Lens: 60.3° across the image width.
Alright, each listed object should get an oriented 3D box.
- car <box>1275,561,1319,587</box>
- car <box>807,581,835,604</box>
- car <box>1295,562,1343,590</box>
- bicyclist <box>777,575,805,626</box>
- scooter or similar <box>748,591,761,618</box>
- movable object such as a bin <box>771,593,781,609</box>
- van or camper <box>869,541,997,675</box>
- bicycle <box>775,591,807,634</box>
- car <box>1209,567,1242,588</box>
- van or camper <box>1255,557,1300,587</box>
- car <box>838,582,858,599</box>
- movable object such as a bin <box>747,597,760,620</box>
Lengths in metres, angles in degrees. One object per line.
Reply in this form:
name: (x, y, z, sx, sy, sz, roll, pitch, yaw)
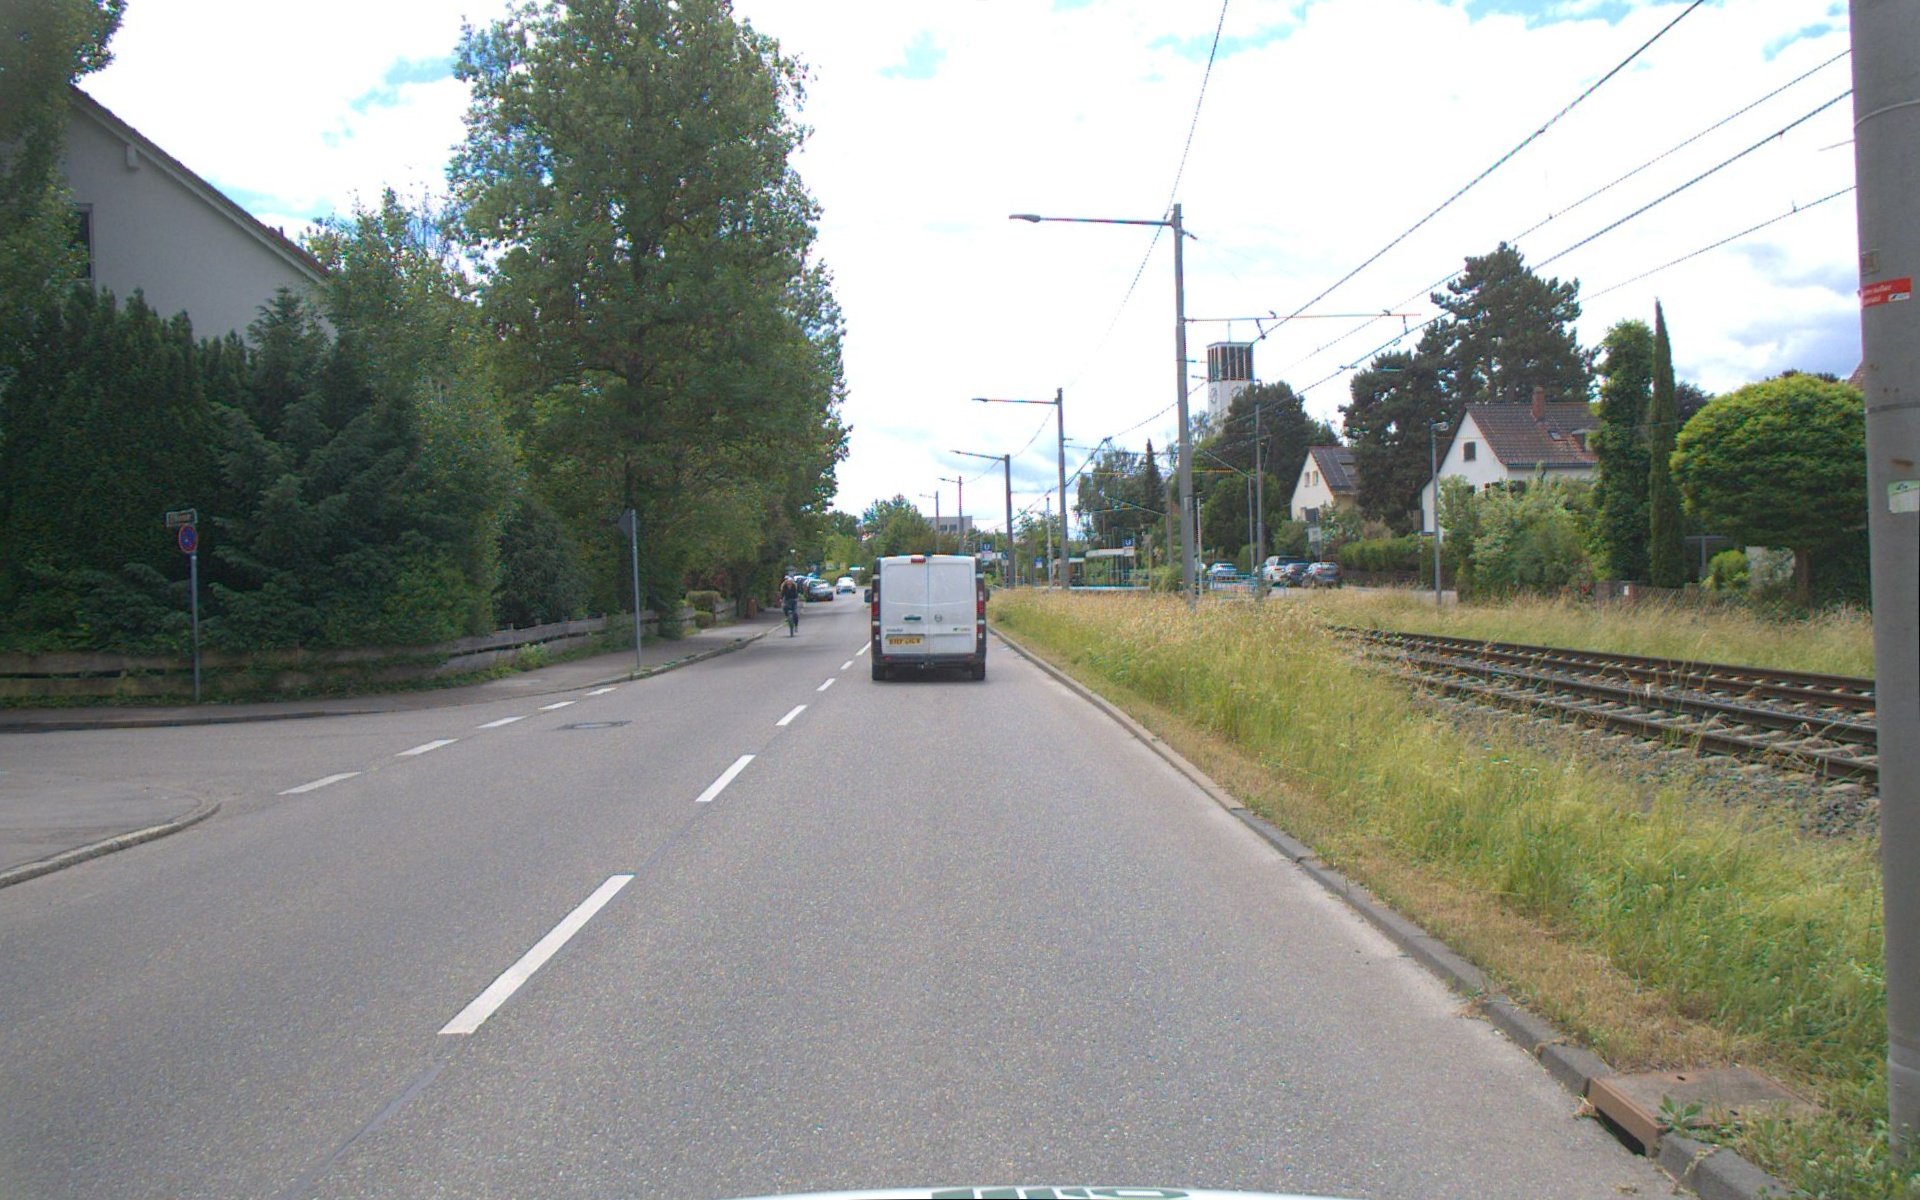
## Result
car: (20.783, -1.592, 102.119, 1.845, 1.548, 4.000, -2, 1, 0)
car: (-9.932, -0.555, 117.715, 1.704, 1.531, 4.470, -3, 1, -7)
car: (20.832, -1.384, 96.089, 1.845, 1.548, 4.000, -2, 1, 0)
bicyclist: (-5.303, 0.006, 52.023, 0.762, 1.576, 0.869, -2, 0, -1)
scooter or similar: (-9.507, 0.192, 76.492, 0.400, 1.220, 1.639, -1, 1, 0)
movable object such as a bin: (-10.949, 0.070, 98.307, 0.455, 0.946, 0.428, 2, -1, -18)
van or camper: (-0.438, 0.114, 27.577, 1.953, 2.049, 4.445, 0, 0, -1)
bicycle: (-5.303, 0.377, 51.930, 0.740, 1.248, 2.308, -3, 1, -1)
car: (20.638, -1.725, 128.674, 1.845, 1.548, 4.000, -2, 1, 0)
van or camper: (20.506, -1.805, 106.965, 1.866, 1.857, 5.047, -2, 1, 0)
car: (-10.243, -0.867, 151.222, 1.661, 1.455, 3.783, -3, 1, -5)
movable object such as a bin: (-8.855, 0.356, 70.932, 0.503, 0.961, 0.568, 0, 0, -2)
